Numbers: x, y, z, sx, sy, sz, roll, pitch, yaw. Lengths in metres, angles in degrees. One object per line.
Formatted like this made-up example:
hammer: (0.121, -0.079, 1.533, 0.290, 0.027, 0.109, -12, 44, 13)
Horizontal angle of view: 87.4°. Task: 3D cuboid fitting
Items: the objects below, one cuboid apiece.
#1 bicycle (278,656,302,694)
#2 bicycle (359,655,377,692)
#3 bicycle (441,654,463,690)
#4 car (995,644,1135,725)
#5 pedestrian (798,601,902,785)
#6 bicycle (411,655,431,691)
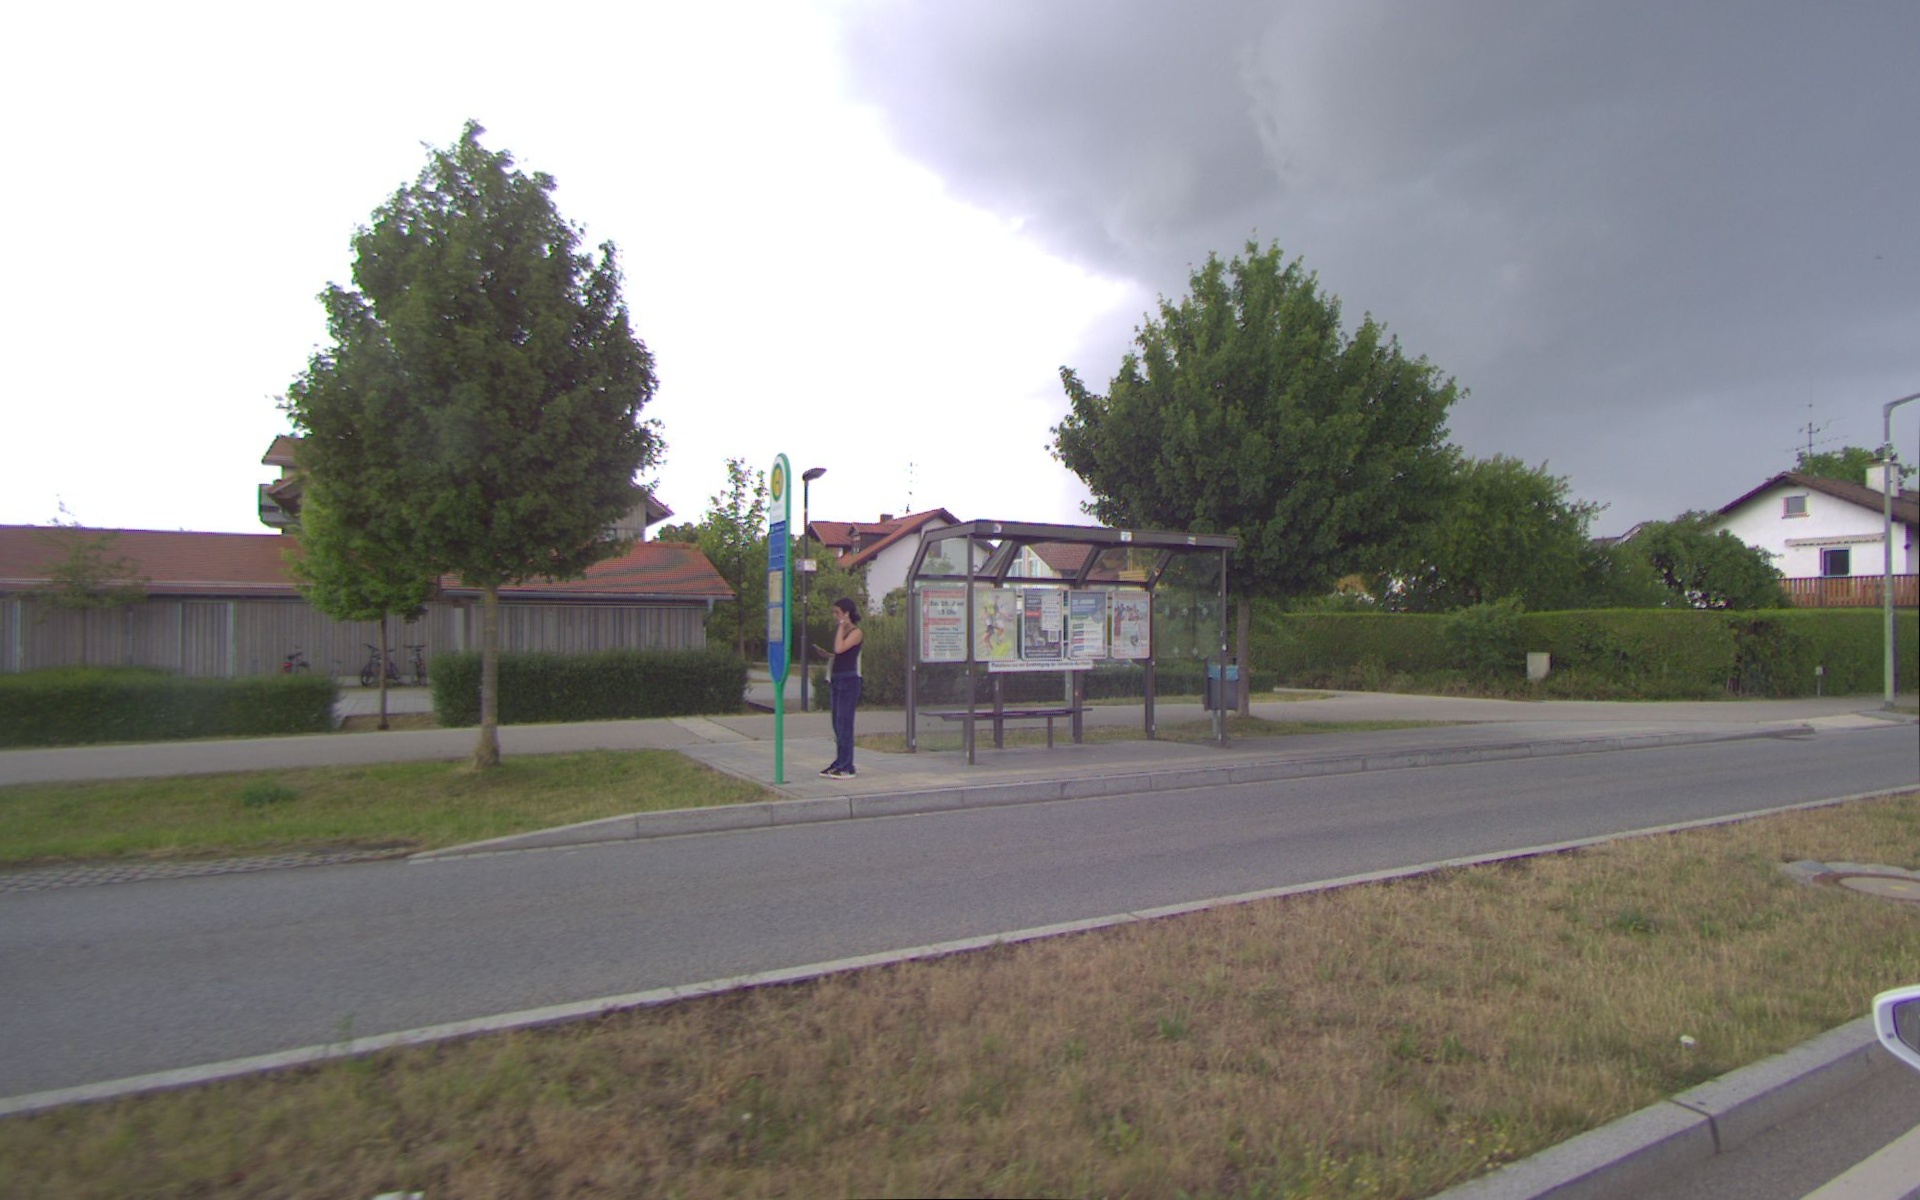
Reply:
bicycle: (-17.793, 1.976, 26.680, 0.414, 0.921, 1.932, 1, -2, -31)
bicycle: (-16.286, 2.014, 27.635, 0.414, 0.921, 1.932, 1, -2, -31)
bicycle: (-14.511, 2.039, 28.670, 0.414, 0.921, 1.932, 1, -2, -31)
car: (2.881, 2.294, 28.333, 1.977, 2.040, 3.967, 1, -2, -31)
pedestrian: (-1.047, 0.853, 9.542, 0.803, 1.658, 0.585, 1, -1, -30)
bicycle: (-15.191, 2.038, 28.289, 0.414, 0.921, 1.932, 1, -2, -31)
